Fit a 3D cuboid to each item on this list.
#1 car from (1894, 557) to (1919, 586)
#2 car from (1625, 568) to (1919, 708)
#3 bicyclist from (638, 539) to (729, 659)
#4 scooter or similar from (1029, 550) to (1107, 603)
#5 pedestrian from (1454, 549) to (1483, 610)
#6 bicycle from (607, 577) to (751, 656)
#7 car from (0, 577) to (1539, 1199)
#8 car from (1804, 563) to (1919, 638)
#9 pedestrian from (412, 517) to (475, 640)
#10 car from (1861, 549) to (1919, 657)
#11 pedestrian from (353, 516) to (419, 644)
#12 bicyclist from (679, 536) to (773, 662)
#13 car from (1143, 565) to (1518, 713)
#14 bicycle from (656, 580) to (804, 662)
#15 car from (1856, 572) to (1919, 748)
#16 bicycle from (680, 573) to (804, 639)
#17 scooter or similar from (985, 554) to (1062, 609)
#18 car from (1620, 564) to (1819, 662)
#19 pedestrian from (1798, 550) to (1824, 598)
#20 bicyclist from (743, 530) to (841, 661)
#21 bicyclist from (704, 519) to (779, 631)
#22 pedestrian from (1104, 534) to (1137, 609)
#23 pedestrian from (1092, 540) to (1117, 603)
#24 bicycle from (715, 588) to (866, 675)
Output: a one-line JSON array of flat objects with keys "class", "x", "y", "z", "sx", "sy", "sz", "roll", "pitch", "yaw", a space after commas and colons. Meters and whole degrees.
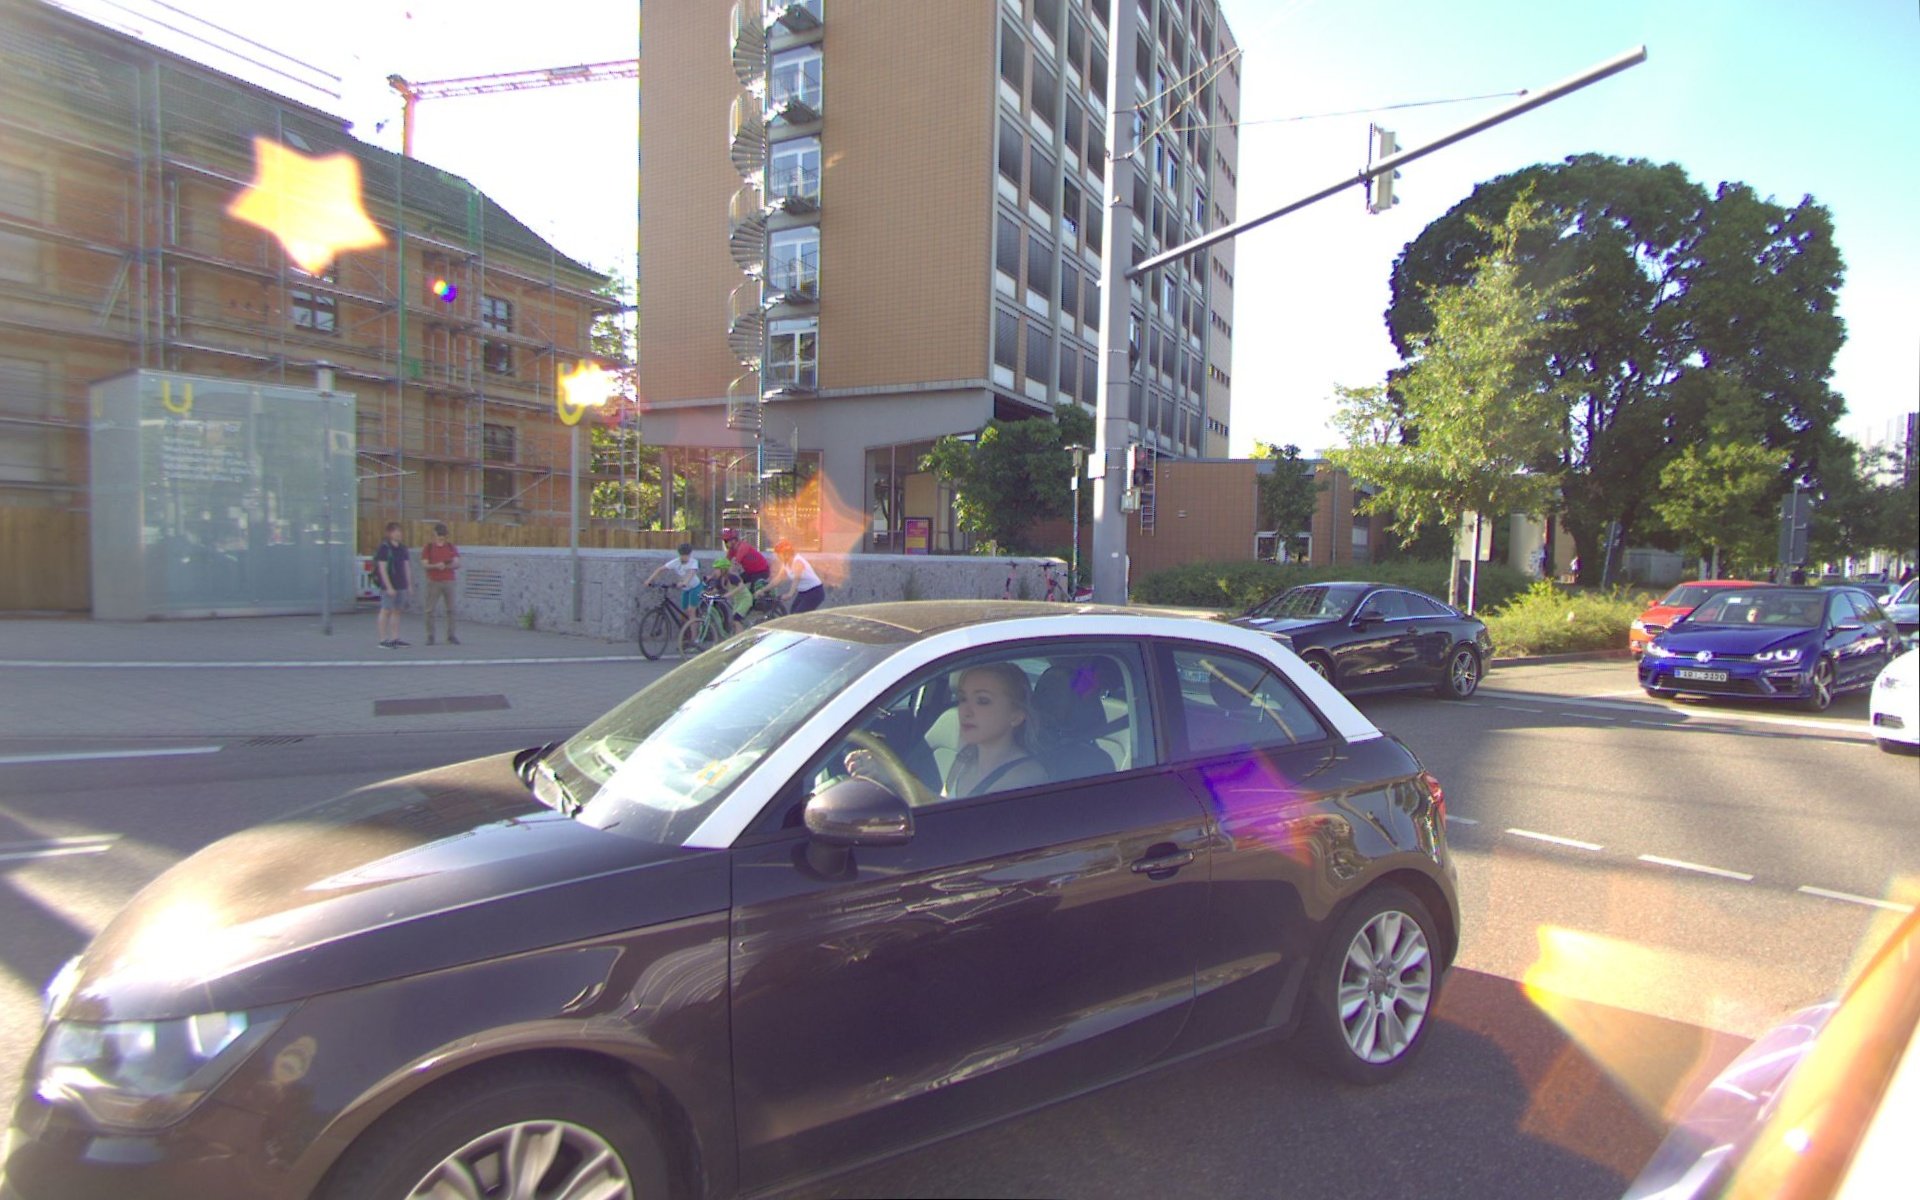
[{"class": "car", "x": 100.082, "y": -2.988, "z": 106.092, "sx": 2.137, "sy": 2.901, "sz": 4.916, "roll": 2, "pitch": 3, "yaw": 32}, {"class": "car", "x": 10.550, "y": 0.352, "z": 12.863, "sx": 4.564, "sy": 1.511, "sz": 1.819, "roll": -1, "pitch": 2, "yaw": -33}, {"class": "bicyclist", "x": -3.936, "y": -0.037, "z": 14.402, "sx": 1.000, "sy": 1.605, "sz": 0.693, "roll": -1, "pitch": 6, "yaw": -42}, {"class": "scooter or similar", "x": 2.628, "y": -0.572, "z": 24.725, "sx": 1.794, "sy": 1.263, "sz": 0.800, "roll": 0, "pitch": 0, "yaw": 0}, {"class": "pedestrian", "x": 13.979, "y": -0.548, "z": 27.826, "sx": 0.496, "sy": 1.656, "sz": 0.572, "roll": 0, "pitch": 0, "yaw": -42}, {"class": "bicycle", "x": -3.974, "y": 0.206, "z": 14.396, "sx": 1.849, "sy": 0.981, "sz": 0.711, "roll": -2, "pitch": 7, "yaw": -43}, {"class": "car", "x": -0.240, "y": 0.662, "z": 3.002, "sx": 3.755, "sy": 1.405, "sz": 1.698, "roll": -1, "pitch": 3, "yaw": -30}, {"class": "car", "x": 21.381, "y": -0.050, "z": 23.335, "sx": 3.941, "sy": 1.481, "sz": 1.758, "roll": -2, "pitch": 4, "yaw": -32}, {"class": "pedestrian", "x": -7.651, "y": -0.330, "z": 14.988, "sx": 0.720, "sy": 1.760, "sz": 0.622, "roll": -1, "pitch": 4, "yaw": -39}, {"class": "car", "x": 16.345, "y": 0.030, "z": 16.220, "sx": 3.925, "sy": 1.626, "sz": 2.000, "roll": -1, "pitch": 3, "yaw": -36}, {"class": "pedestrian", "x": -8.141, "y": -0.295, "z": 14.367, "sx": 0.609, "sy": 1.760, "sz": 0.667, "roll": 2, "pitch": 3, "yaw": -7}, {"class": "bicyclist", "x": -3.188, "y": -0.036, "z": 13.802, "sx": 1.000, "sy": 1.605, "sz": 0.693, "roll": -1, "pitch": 6, "yaw": -42}, {"class": "car", "x": 4.567, "y": 0.341, "z": 12.277, "sx": 4.562, "sy": 1.511, "sz": 1.819, "roll": -1, "pitch": 2, "yaw": -31}, {"class": "bicycle", "x": -3.132, "y": 0.252, "z": 13.890, "sx": 1.849, "sy": 0.981, "sz": 0.711, "roll": -2, "pitch": 7, "yaw": -43}, {"class": "car", "x": 9.860, "y": 0.490, "z": 8.736, "sx": 4.368, "sy": 1.405, "sz": 1.829, "roll": -1, "pitch": 3, "yaw": -30}, {"class": "bicycle", "x": -3.556, "y": 0.092, "z": 16.530, "sx": 1.841, "sy": 0.981, "sz": 0.714, "roll": 1, "pitch": 5, "yaw": -27}, {"class": "scooter or similar", "x": 1.498, "y": -0.429, "z": 23.712, "sx": 1.682, "sy": 1.263, "sz": 0.797, "roll": 0, "pitch": 0, "yaw": 14}, {"class": "car", "x": 13.722, "y": 0.140, "z": 18.225, "sx": 3.944, "sy": 1.481, "sz": 1.757, "roll": -3, "pitch": 4, "yaw": -36}, {"class": "pedestrian", "x": 30.367, "y": -0.933, "z": 36.101, "sx": 0.581, "sy": 1.682, "sz": 0.565, "roll": 0, "pitch": 0, "yaw": -35}, {"class": "bicyclist", "x": -2.197, "y": -0.079, "z": 13.235, "sx": 1.000, "sy": 1.605, "sz": 0.693, "roll": -1, "pitch": 6, "yaw": -43}, {"class": "bicyclist", "x": -3.560, "y": -0.410, "z": 16.473, "sx": 0.996, "sy": 1.728, "sz": 0.696, "roll": 1, "pitch": 5, "yaw": -27}, {"class": "pedestrian", "x": 3.753, "y": -0.658, "z": 23.633, "sx": 0.611, "sy": 1.733, "sz": 0.487, "roll": 0, "pitch": 0, "yaw": -15}, {"class": "pedestrian", "x": 3.862, "y": -0.760, "z": 27.083, "sx": 0.496, "sy": 1.656, "sz": 0.427, "roll": 0, "pitch": 0, "yaw": -42}, {"class": "bicycle", "x": -2.205, "y": 0.376, "z": 13.289, "sx": 1.849, "sy": 0.981, "sz": 0.711, "roll": -2, "pitch": 7, "yaw": -43}]
